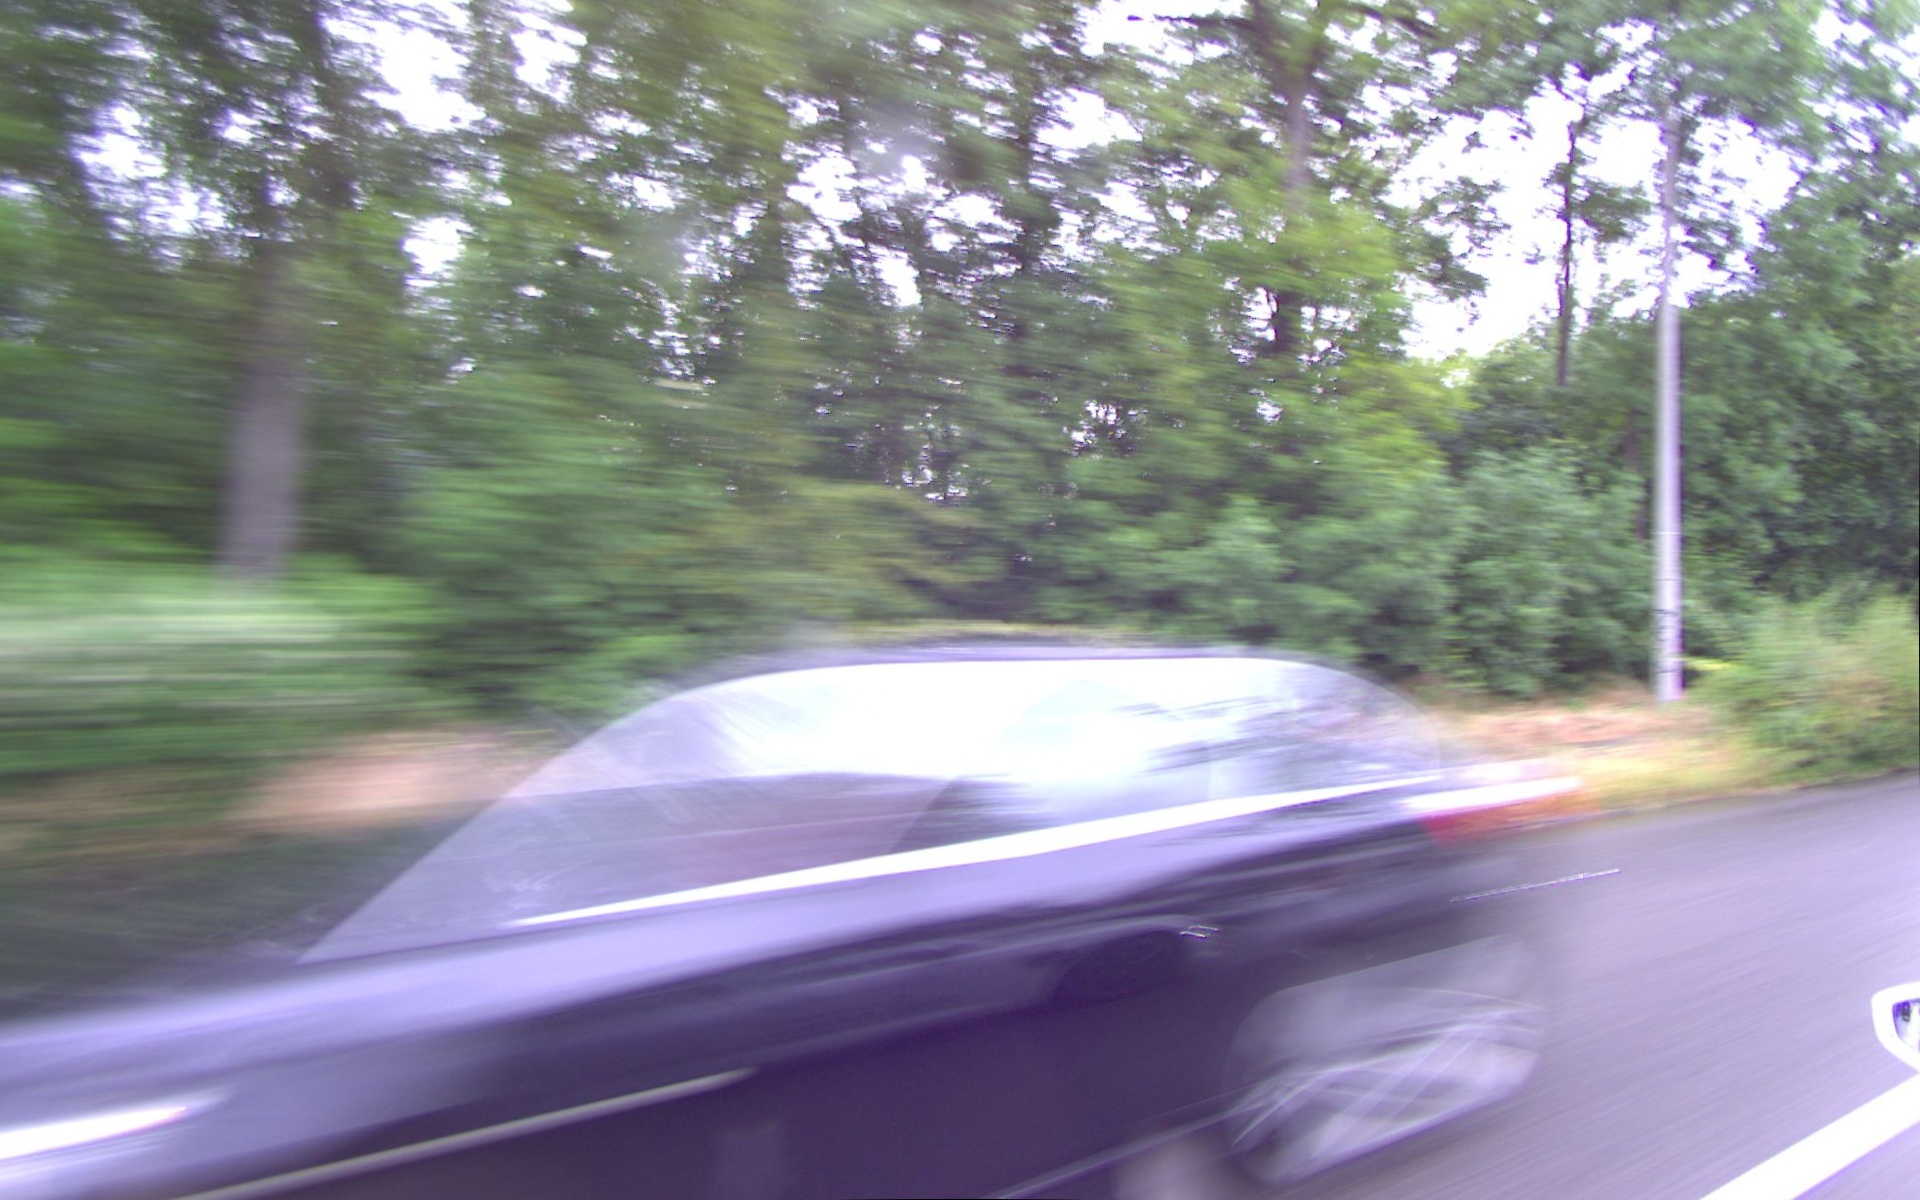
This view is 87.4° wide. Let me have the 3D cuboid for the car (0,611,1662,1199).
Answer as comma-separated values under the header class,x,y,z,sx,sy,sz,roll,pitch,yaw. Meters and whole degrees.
class,x,y,z,sx,sy,sz,roll,pitch,yaw
car,-0.399,0.783,2.648,5.051,1.462,1.721,0,-1,-30
